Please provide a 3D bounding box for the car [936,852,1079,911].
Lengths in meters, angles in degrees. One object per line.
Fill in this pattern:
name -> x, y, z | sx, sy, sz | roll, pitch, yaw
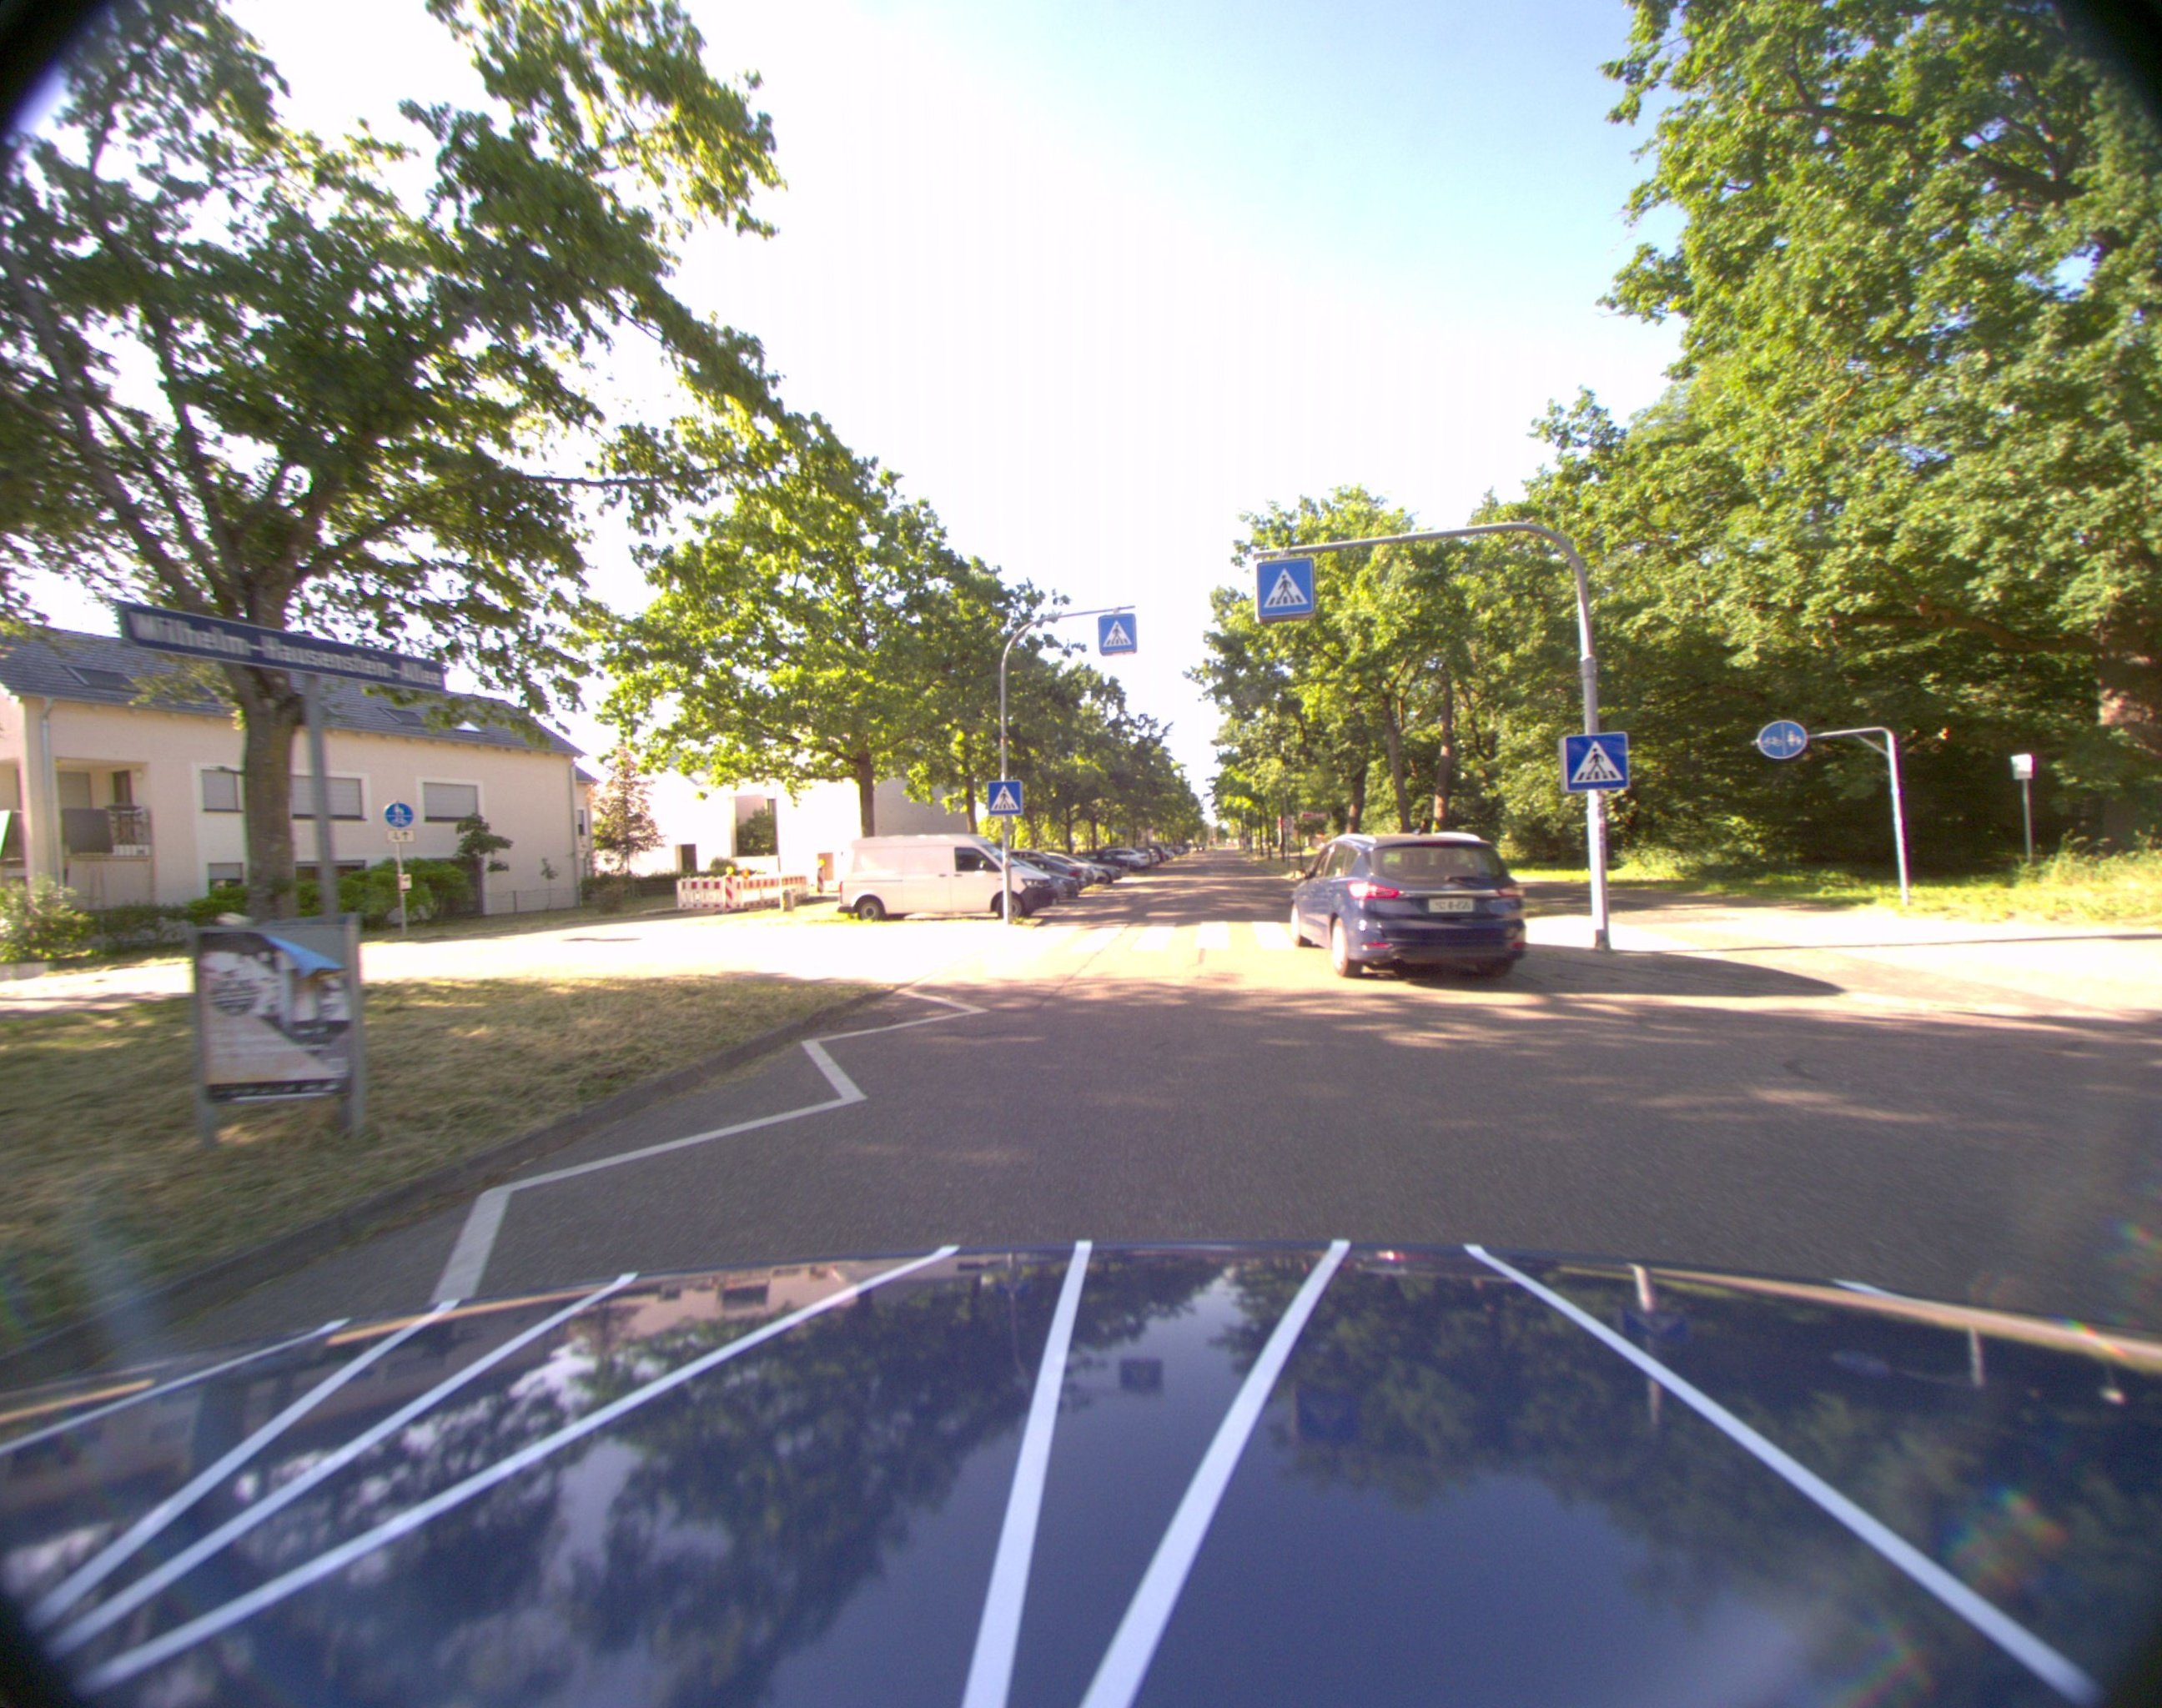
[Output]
car -> -2.240, 0.838, 23.658 | 3.993, 1.554, 1.759 | -3, 1, 12

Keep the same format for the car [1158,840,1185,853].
car -> 14.472, -1.251, 121.324 | 4.148, 1.838, 1.950 | -3, 1, 11

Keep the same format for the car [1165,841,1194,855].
car -> 15.038, -0.904, 116.100 | 4.148, 1.838, 1.950 | -3, 1, 11

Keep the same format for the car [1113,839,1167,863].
car -> 5.022, -0.252, 64.490 | 4.392, 1.733, 1.534 | -3, 1, 12

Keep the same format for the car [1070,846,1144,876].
car -> 1.640, 0.439, 48.037 | 4.392, 1.632, 1.534 | -3, 1, 12

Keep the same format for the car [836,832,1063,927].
car -> -3.146, 0.609, 18.620 | 5.042, 2.069, 1.892 | -2, 1, 10

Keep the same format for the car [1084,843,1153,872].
car -> 2.528, 0.230, 51.037 | 4.392, 1.733, 1.534 | -3, 1, 12

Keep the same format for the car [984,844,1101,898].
car -> -1.428, 0.616, 28.681 | 4.016, 1.783, 1.714 | -3, 1, 12

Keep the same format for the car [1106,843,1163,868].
car -> 4.419, 0.116, 62.195 | 4.392, 1.733, 1.534 | -3, 1, 12

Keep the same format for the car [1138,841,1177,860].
car -> 8.508, -0.392, 84.494 | 3.994, 1.838, 1.864 | -3, 1, 11

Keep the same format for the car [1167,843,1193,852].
car -> 16.471, -1.068, 126.090 | 4.148, 1.401, 1.801 | -3, 1, 11

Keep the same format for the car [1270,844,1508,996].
car -> 3.853, 0.689, 10.388 | 1.825, 1.616, 4.494 | -1, 1, 6

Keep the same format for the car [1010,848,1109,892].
car -> -0.927, 0.690, 33.263 | 4.016, 1.669, 1.534 | -3, 1, 12

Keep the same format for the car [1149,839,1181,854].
car -> 11.682, -0.995, 105.216 | 4.148, 1.838, 1.950 | -3, 1, 11

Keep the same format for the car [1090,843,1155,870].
car -> 3.024, 0.162, 55.065 | 4.392, 1.733, 1.534 | -3, 1, 12

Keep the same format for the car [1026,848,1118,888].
car -> -0.409, 0.663, 36.149 | 4.016, 1.650, 1.534 | -3, 1, 12

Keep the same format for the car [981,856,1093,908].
car -> -1.496, 0.947, 26.110 | 3.513, 1.533, 1.449 | -3, 1, 12

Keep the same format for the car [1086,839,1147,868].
car -> 2.771, -0.039, 58.567 | 4.392, 1.977, 1.534 | -3, 1, 12
